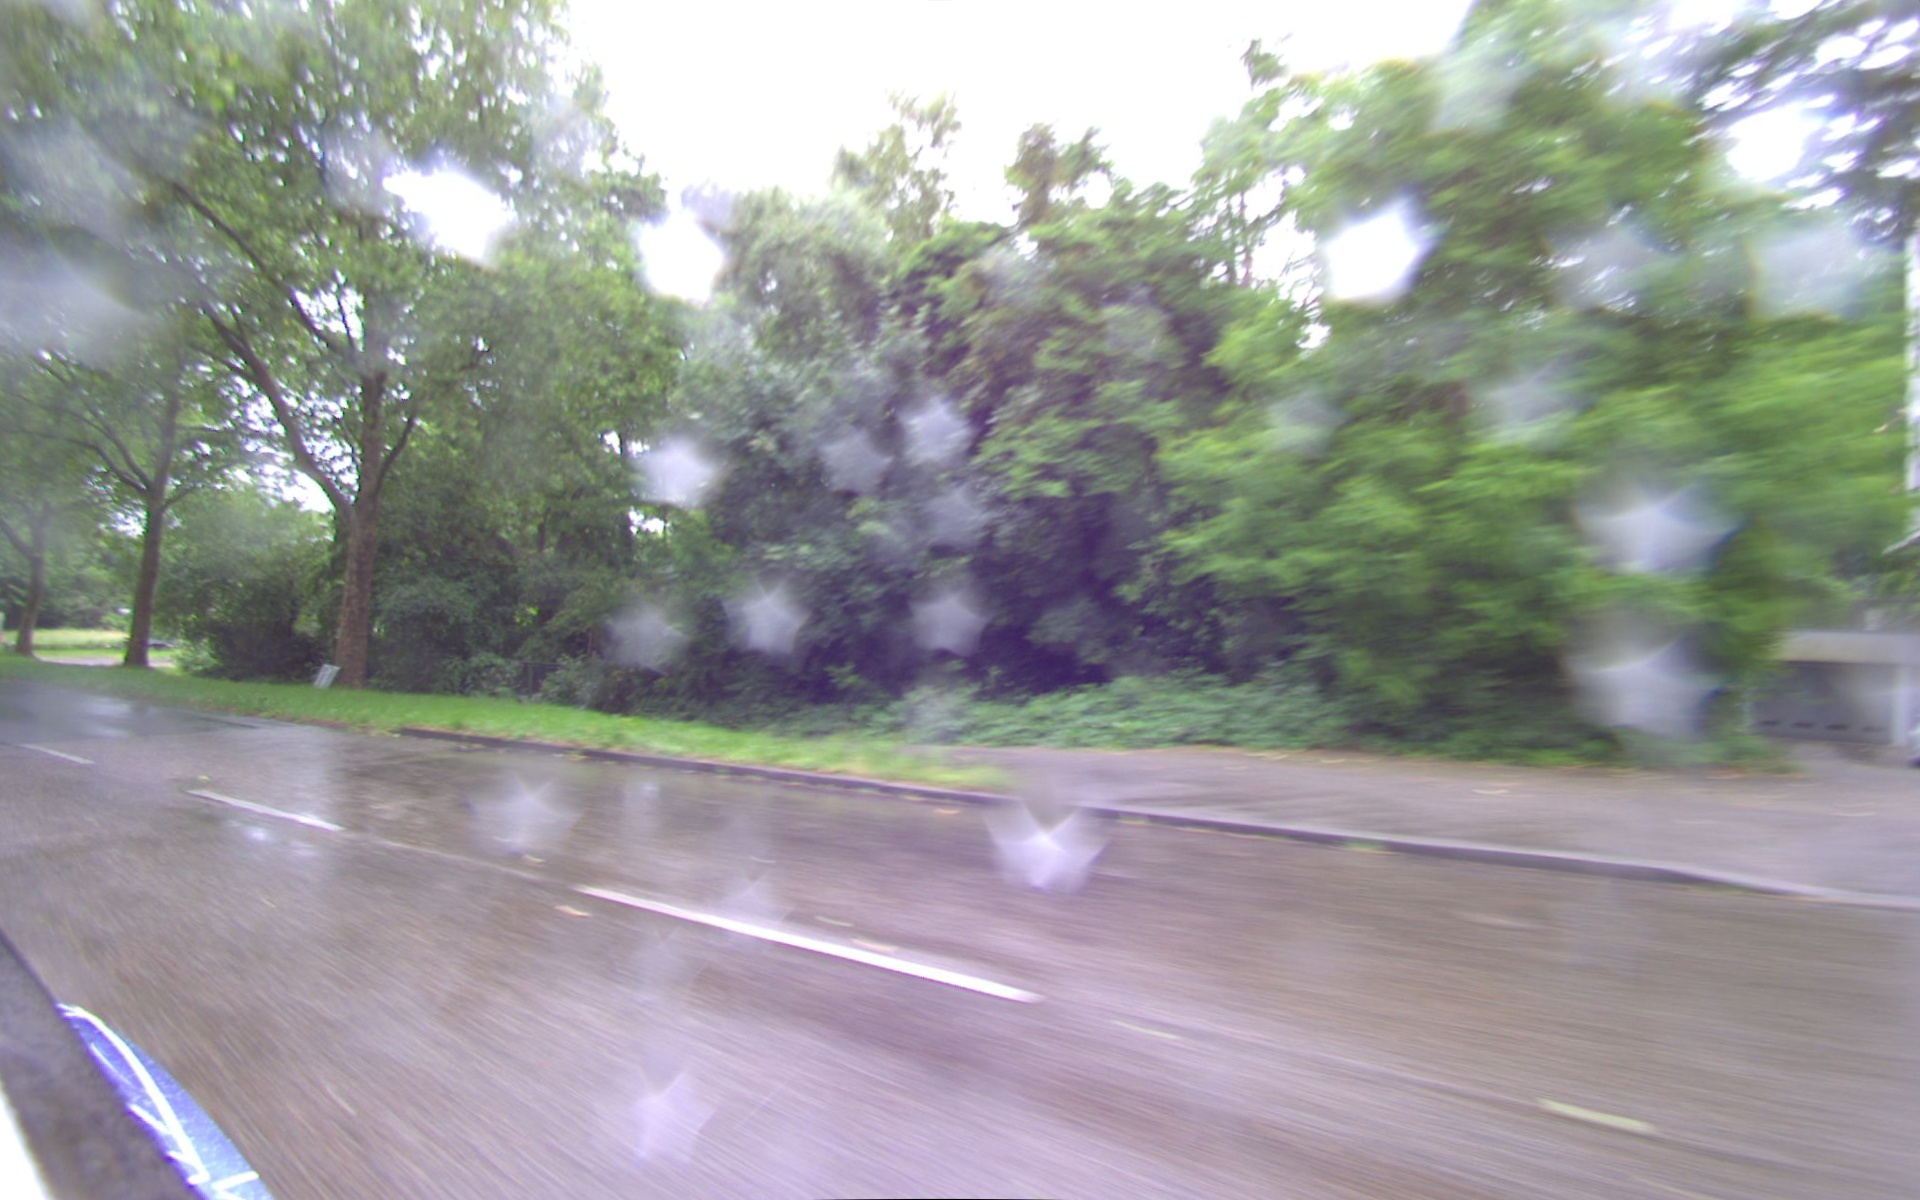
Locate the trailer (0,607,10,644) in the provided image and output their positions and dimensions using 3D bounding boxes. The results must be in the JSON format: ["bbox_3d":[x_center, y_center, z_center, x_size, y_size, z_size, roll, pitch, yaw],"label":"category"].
[{"bbox_3d":[-74.159,1.823,76.344,6.648,2.684,2.769,1,-2,40],"label":"trailer"}]

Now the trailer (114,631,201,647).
[{"bbox_3d":[-55.769,2.711,70.389,2.378,1.040,4.276,1,-1,37],"label":"trailer"}]
